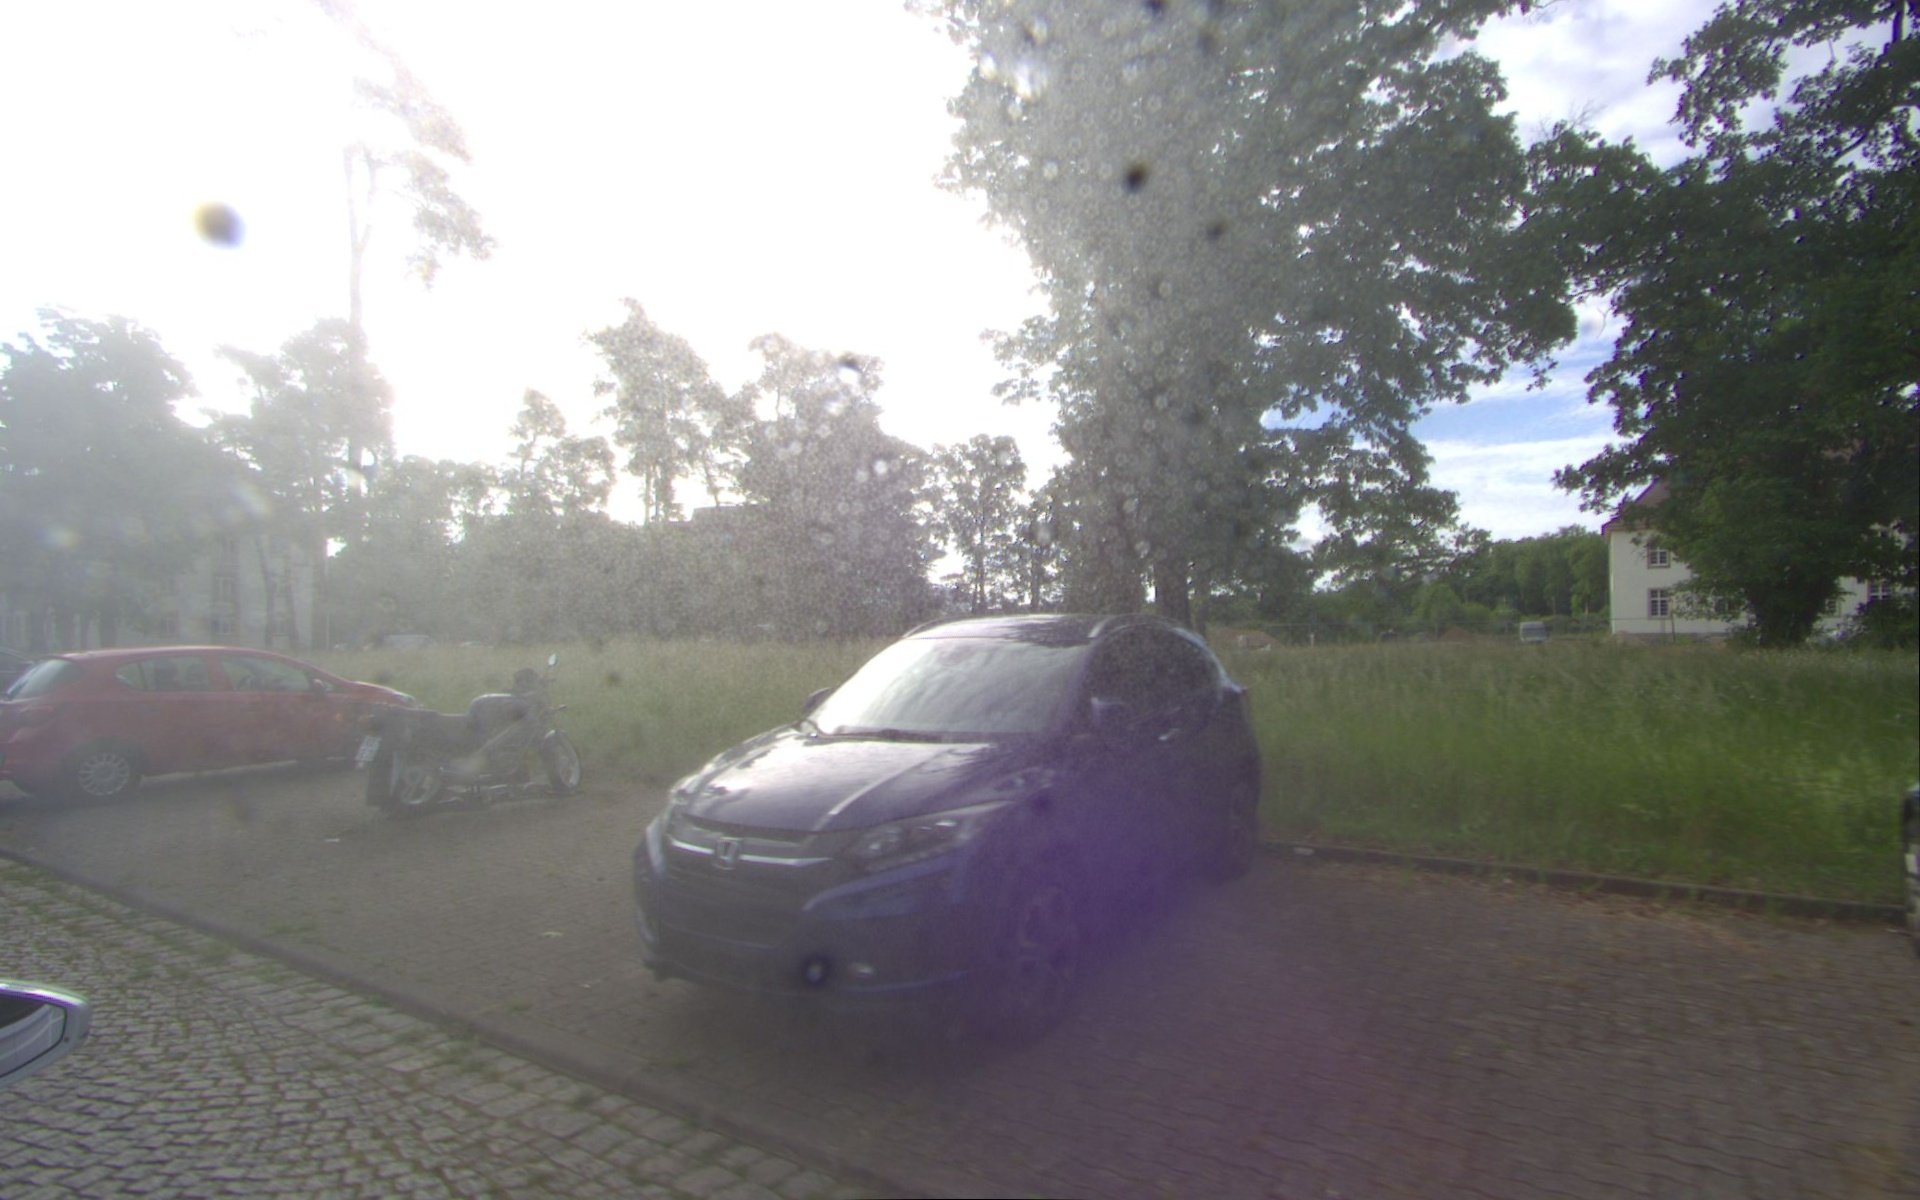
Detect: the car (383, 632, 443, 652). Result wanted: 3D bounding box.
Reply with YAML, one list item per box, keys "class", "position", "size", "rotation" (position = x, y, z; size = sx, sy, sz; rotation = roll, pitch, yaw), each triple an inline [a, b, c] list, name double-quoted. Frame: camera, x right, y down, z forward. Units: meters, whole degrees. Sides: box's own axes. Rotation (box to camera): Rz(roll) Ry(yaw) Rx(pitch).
- class: "car"
  position: [-58.472, 4.512, 107.195]
  size: [2.077, 2.044, 5.290]
  rotation: [-2, -4, 34]

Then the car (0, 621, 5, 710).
- class: "car"
  position: [-23.966, 1.499, 21.437]
  size: [1.938, 2.030, 4.787]
  rotation: [-1, -1, 31]

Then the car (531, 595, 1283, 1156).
- class: "car"
  position: [0.212, 0.856, 5.246]
  size: [1.859, 1.644, 4.237]
  rotation: [-1, -1, 32]

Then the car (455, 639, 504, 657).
- class: "car"
  position: [-49.040, 4.947, 102.270]
  size: [1.875, 1.826, 4.124]
  rotation: [-2, -4, 35]

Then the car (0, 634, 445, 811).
- class: "car"
  position: [-8.094, 1.172, 11.107]
  size: [1.759, 1.516, 3.916]
  rotation: [-1, -1, 32]

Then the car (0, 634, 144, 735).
- class: "car"
  position: [-16.571, 1.420, 16.708]
  size: [1.925, 1.615, 4.197]
  rotation: [-1, -1, 31]

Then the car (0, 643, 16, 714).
- class: "car"
  position: [-21.891, 1.656, 20.019]
  size: [1.696, 1.498, 4.092]
  rotation: [-1, -1, 30]

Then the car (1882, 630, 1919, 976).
- class: "car"
  position: [4.036, 0.831, 2.551]
  size: [1.901, 1.457, 4.344]
  rotation: [-1, -1, 35]

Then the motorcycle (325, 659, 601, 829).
- class: "motorcycle"
  position: [-4.279, 1.180, 8.844]
  size: [0.560, 1.217, 2.226]
  rotation: [-1, -1, 31]
